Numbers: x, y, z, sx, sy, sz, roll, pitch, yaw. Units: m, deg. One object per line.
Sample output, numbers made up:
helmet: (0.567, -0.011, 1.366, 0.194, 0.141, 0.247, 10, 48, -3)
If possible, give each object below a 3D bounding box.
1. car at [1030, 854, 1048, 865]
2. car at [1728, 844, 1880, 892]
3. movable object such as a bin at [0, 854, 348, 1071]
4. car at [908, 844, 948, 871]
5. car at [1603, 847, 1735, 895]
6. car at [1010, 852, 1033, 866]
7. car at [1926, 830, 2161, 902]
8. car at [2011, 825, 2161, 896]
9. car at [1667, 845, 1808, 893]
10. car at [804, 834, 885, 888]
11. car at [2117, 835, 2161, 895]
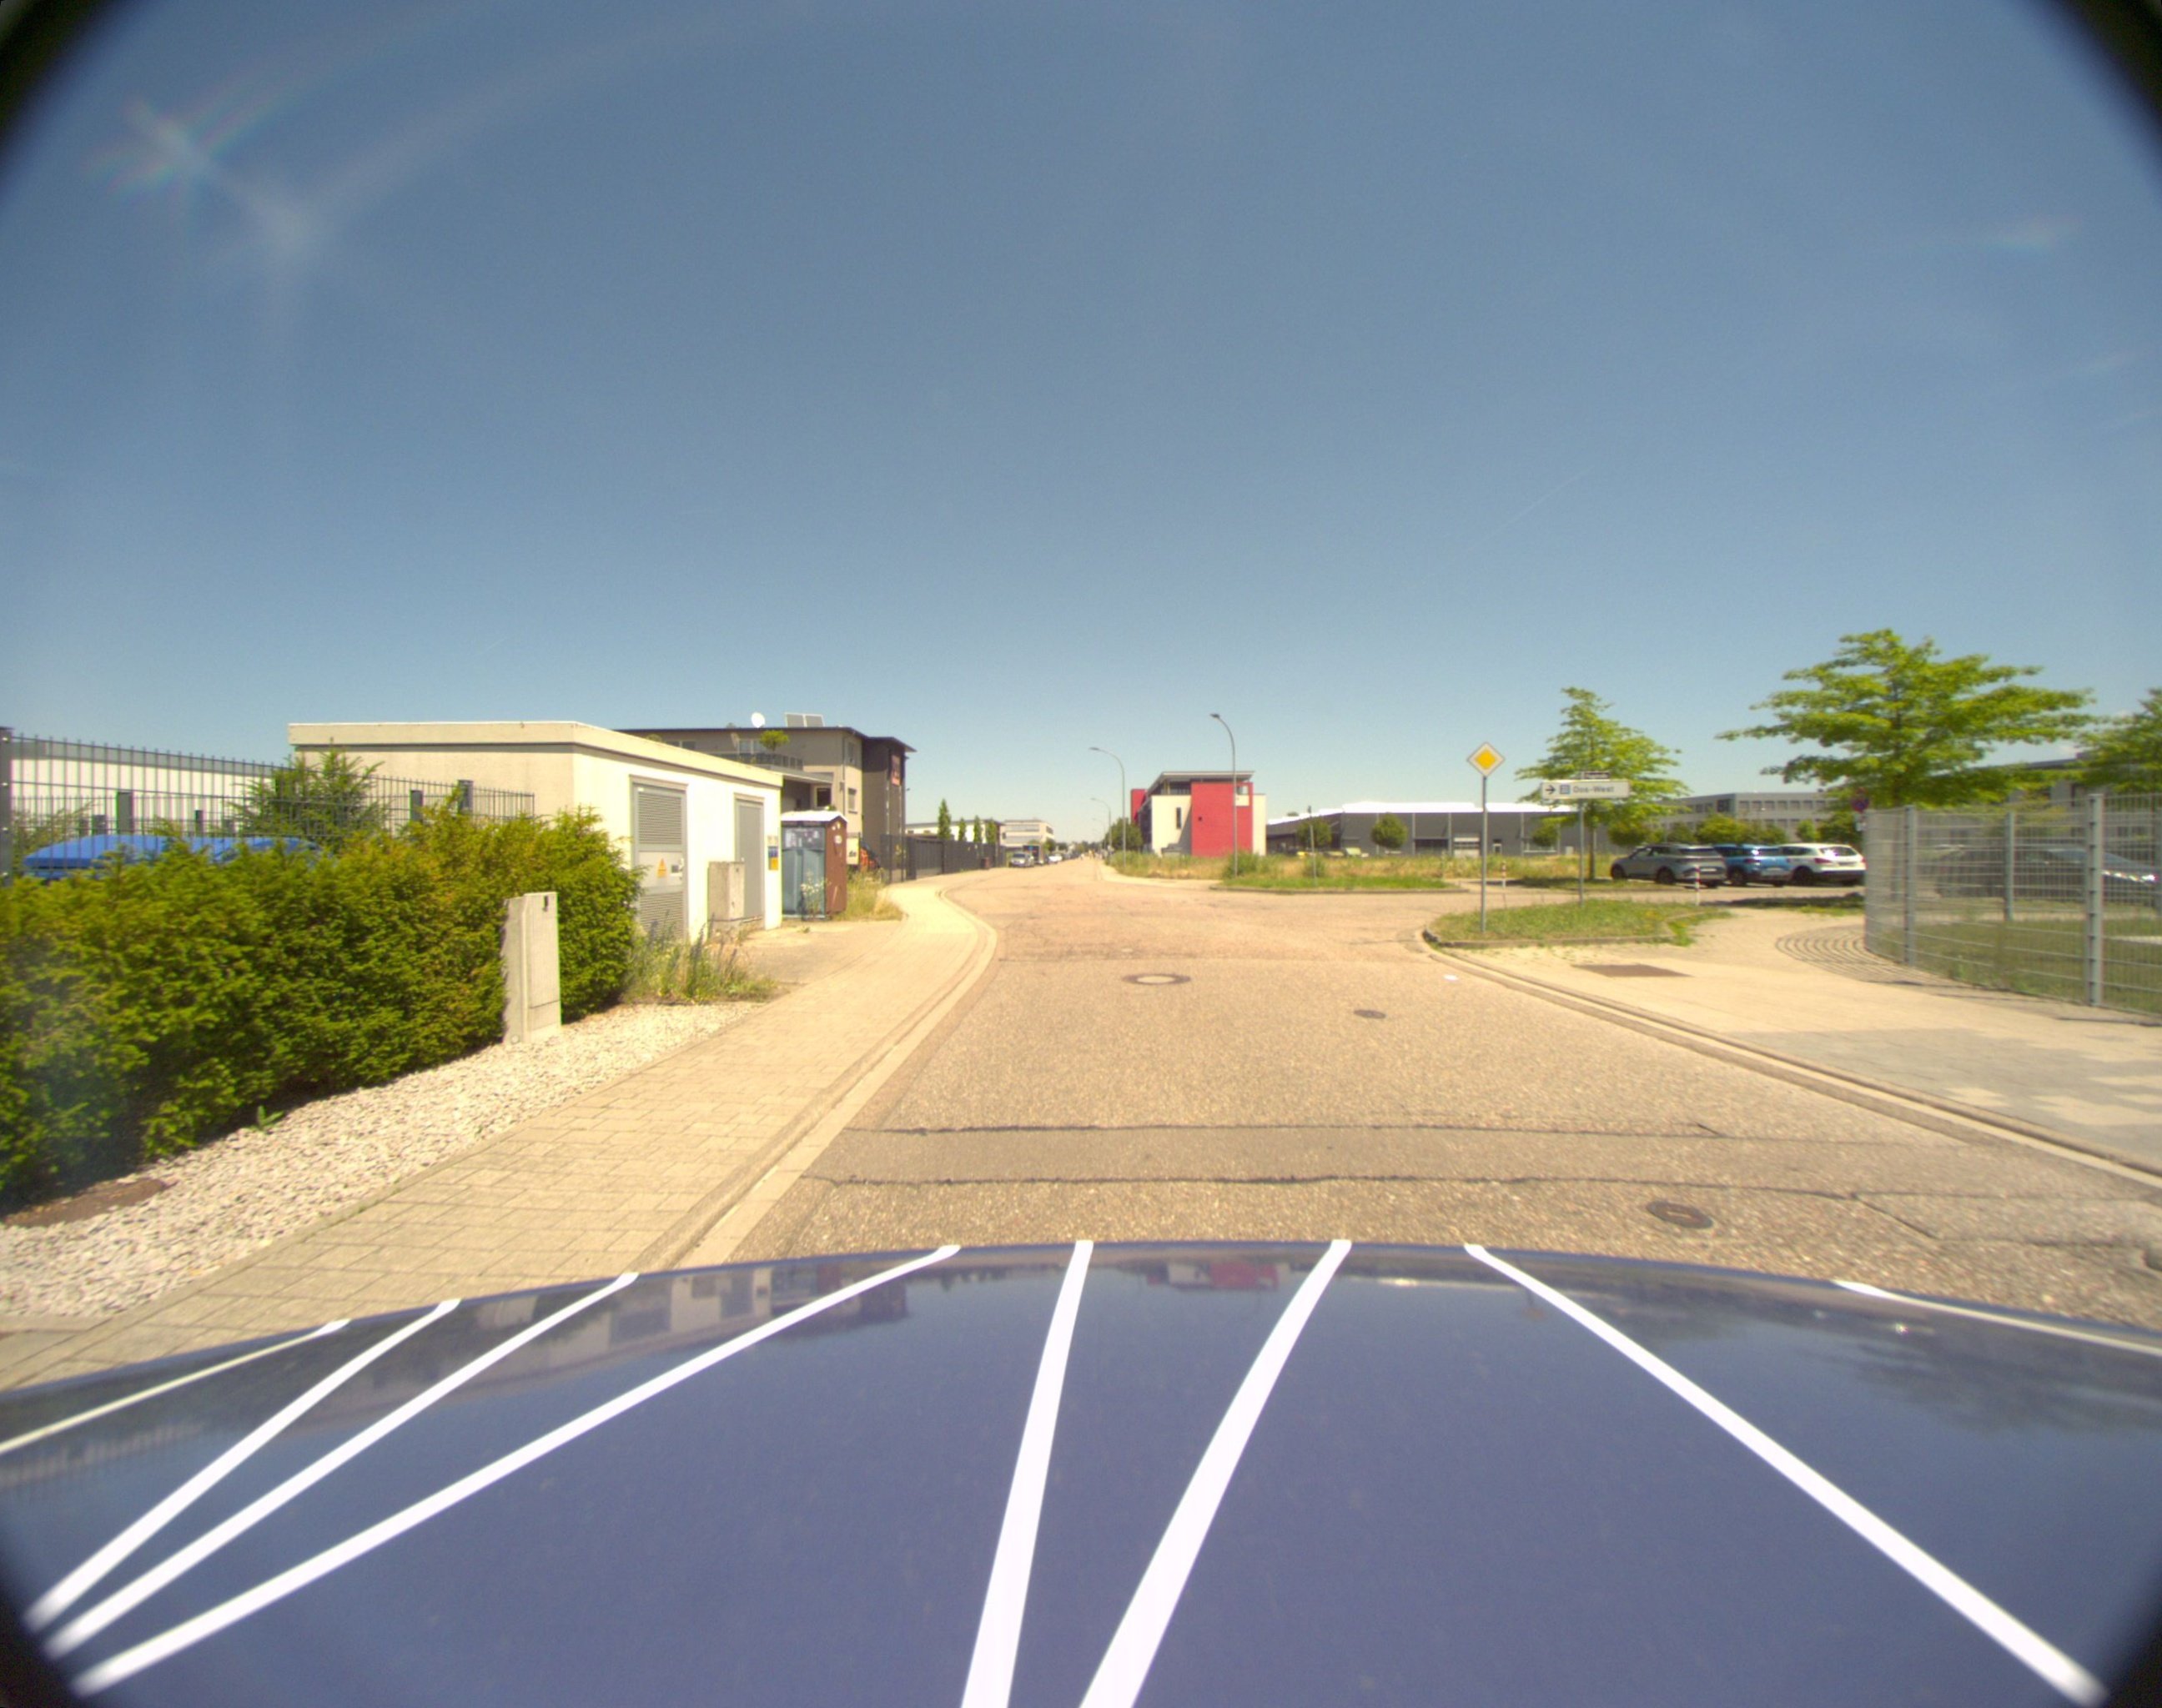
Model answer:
car: (-4.996, 0.653, 90.567, 1.828, 1.269, 3.886, 0, 0, 2)
car: (28.004, 0.501, 29.670, 1.956, 1.688, 4.309, -1, 1, 3)
movable object such as a bin: (-6.948, 0.758, 5.886, 1.386, 1.514, 1.170, 0, 0, 0)
car: (-10.422, 0.199, 51.960, 1.928, 1.784, 3.999, 0, 0, 0)
car: (22.727, 0.584, 29.618, 1.956, 1.688, 4.309, -1, 1, 3)
car: (-5.700, 0.426, 73.001, 1.828, 1.269, 3.886, 0, 0, 2)
car: (22.421, 0.281, 17.591, 1.609, 1.467, 3.800, -1, -1, 4)
car: (25.045, 0.152, 17.746, 1.609, 1.611, 4.255, -1, -1, 4)
car: (25.588, 0.523, 29.851, 1.956, 1.688, 4.309, -1, 1, 3)
car: (-10.139, 0.251, 32.988, 1.919, 2.149, 4.779, -1, 1, 1)
car: (27.443, 0.239, 17.482, 1.610, 1.467, 4.117, -1, -1, 1)
